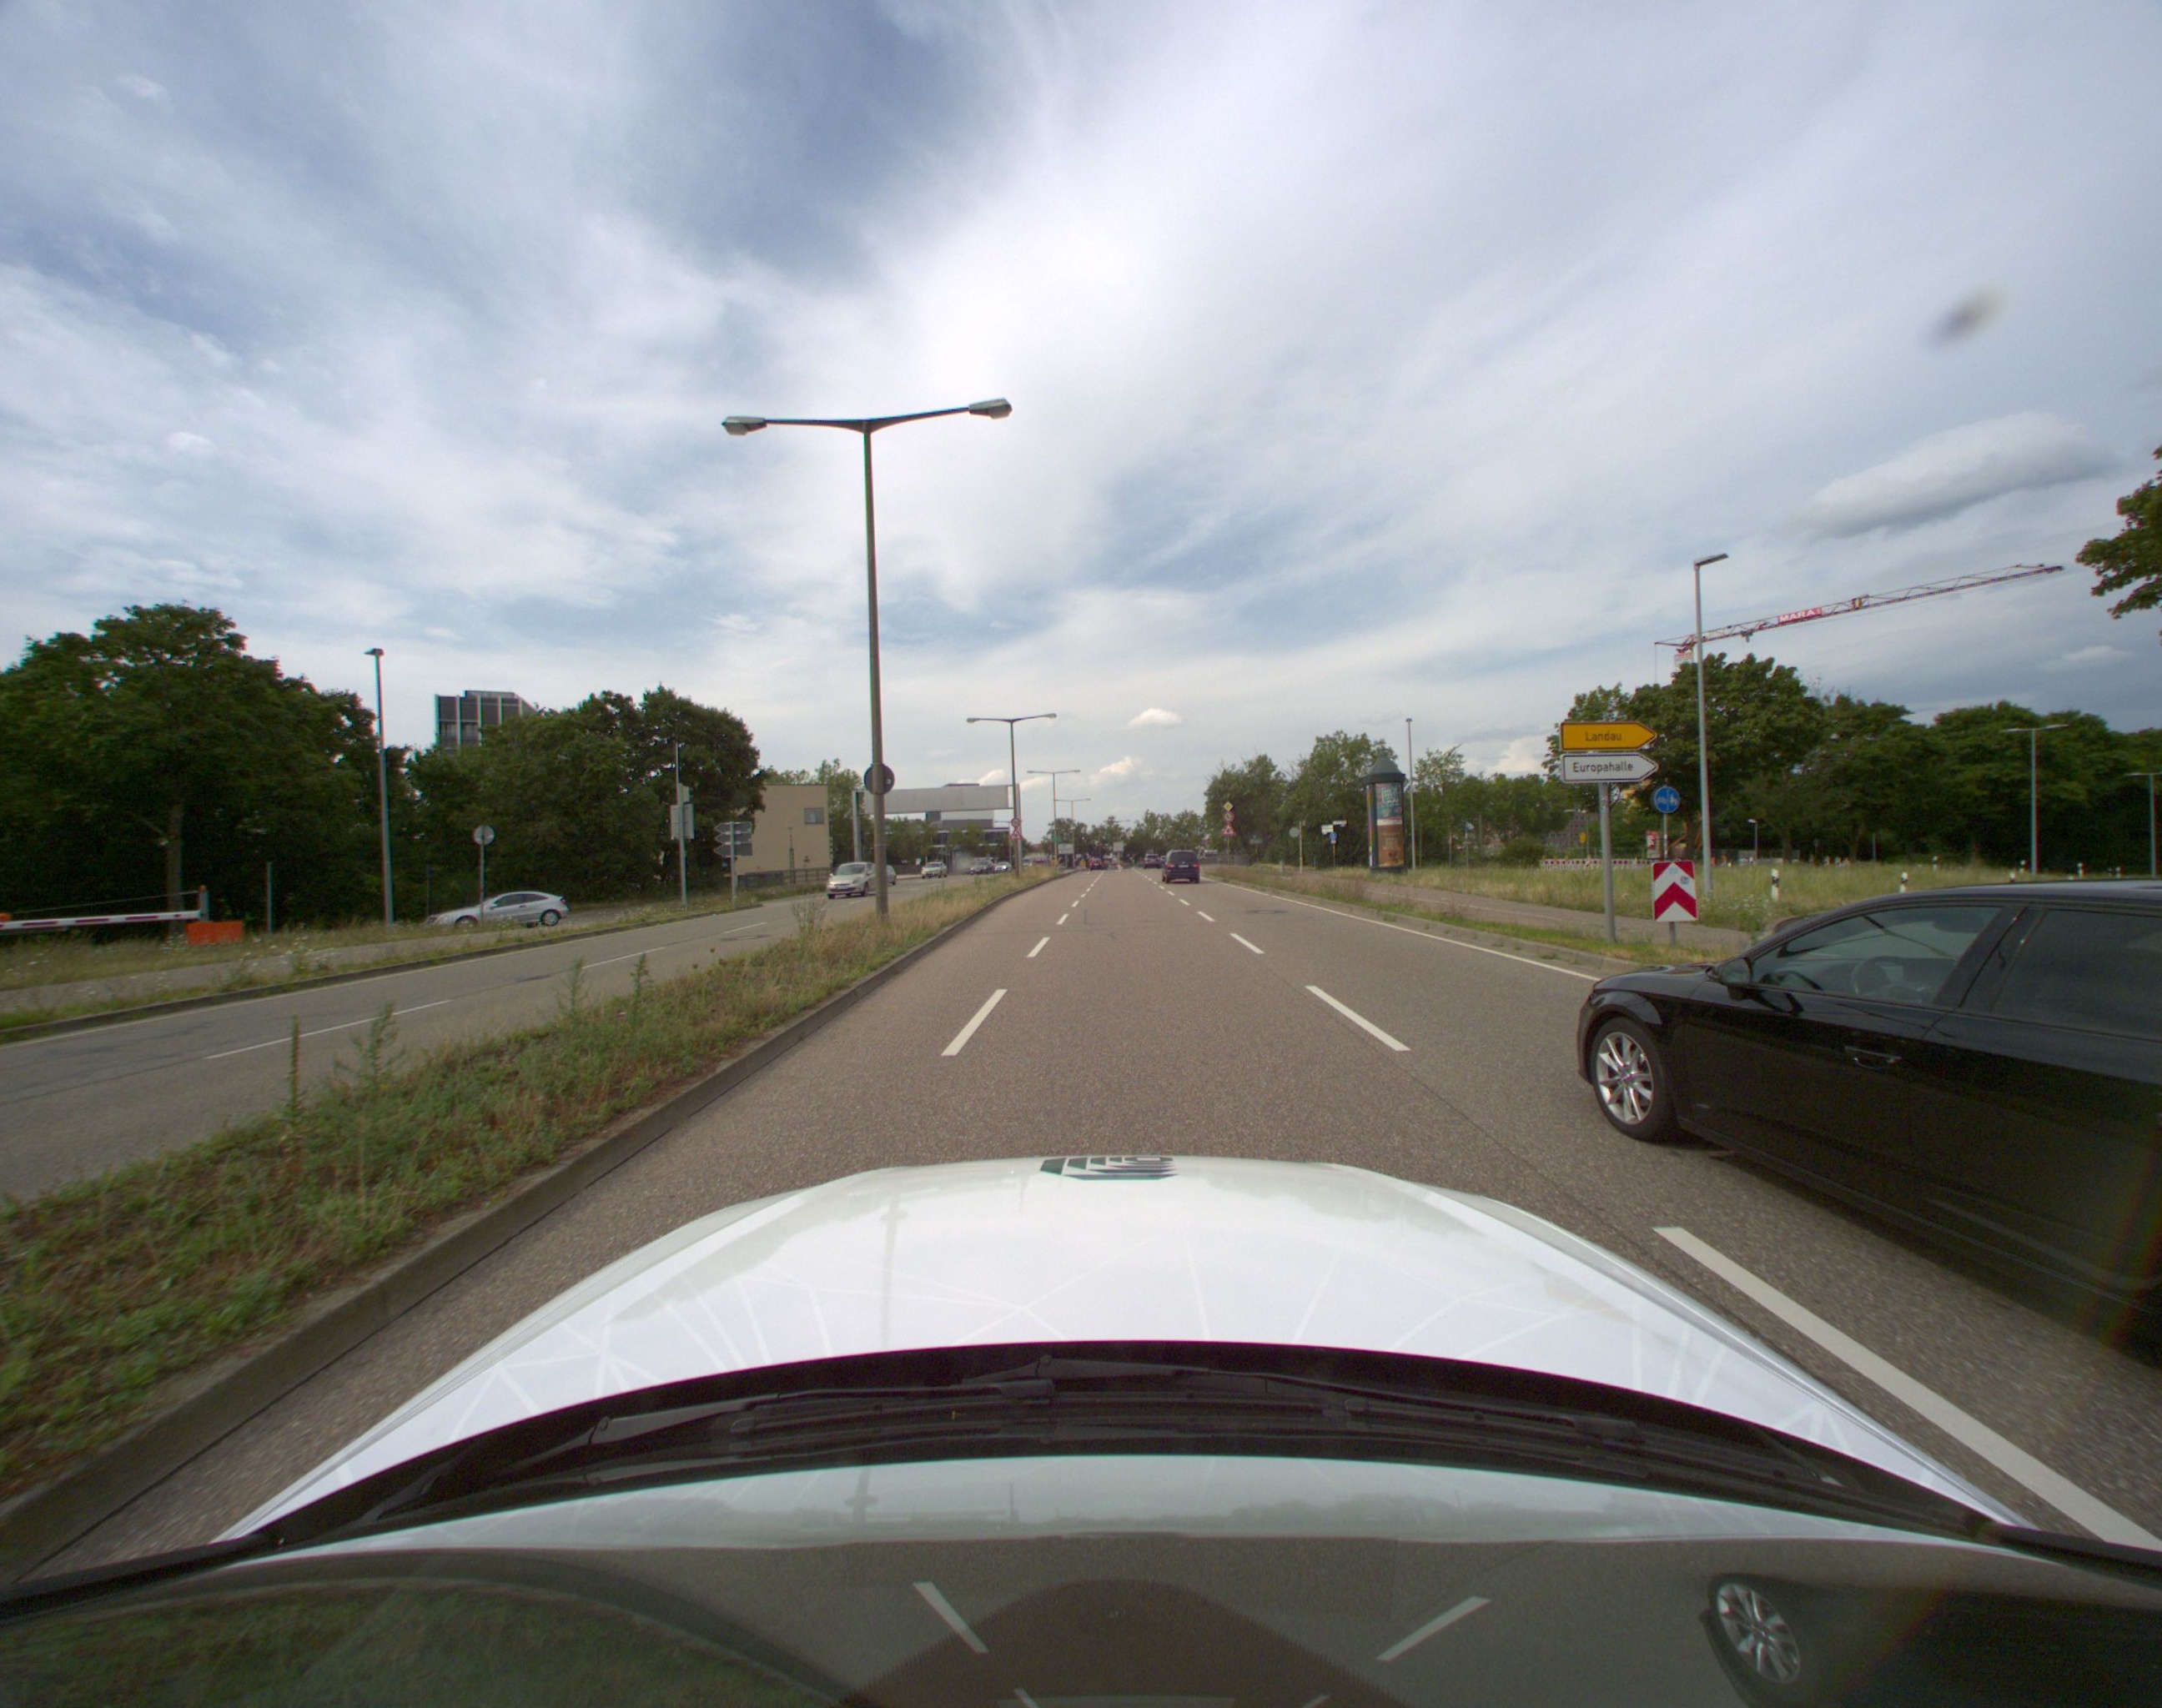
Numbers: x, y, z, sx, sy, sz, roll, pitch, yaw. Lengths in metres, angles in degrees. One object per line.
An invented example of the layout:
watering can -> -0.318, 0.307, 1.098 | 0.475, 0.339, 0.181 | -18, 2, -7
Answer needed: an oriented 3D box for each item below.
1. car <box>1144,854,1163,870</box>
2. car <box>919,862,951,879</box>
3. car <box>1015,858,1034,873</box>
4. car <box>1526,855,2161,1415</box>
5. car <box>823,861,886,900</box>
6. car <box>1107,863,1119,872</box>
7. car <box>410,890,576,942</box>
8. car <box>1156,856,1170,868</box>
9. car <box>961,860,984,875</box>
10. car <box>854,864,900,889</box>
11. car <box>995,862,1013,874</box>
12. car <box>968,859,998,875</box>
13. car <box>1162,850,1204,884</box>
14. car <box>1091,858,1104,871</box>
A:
car -> 7.969, 0.855, 89.662 | 1.724, 1.653, 4.116 | -1, 0, 1
car -> -13.229, 1.483, 74.046 | 1.658, 1.419, 4.320 | -4, -1, 5
car -> -6.173, 1.238, 89.165 | 1.689, 1.486, 3.860 | -2, -1, 0
car -> 3.635, 0.720, 3.058 | 1.724, 1.395, 4.116 | -1, 0, 1
car -> -10.792, 1.221, 39.101 | 1.740, 1.598, 4.563 | -3, 0, -1
car -> 5.794, 2.401, 147.528 | 1.726, 1.526, 4.112 | -1, 0, -2
car -> -21.212, 2.192, 29.587 | 1.728, 1.446, 4.490 | -3, 0, 31
car -> 11.080, 1.048, 110.072 | 1.502, 1.447, 3.140 | -1, 0, 1
car -> -12.407, 1.571, 93.205 | 1.786, 1.525, 4.596 | -4, -1, 2
car -> -13.859, 1.495, 55.570 | 1.657, 1.419, 4.100 | -3, 1, 6
car -> -10.482, 1.896, 110.485 | 1.786, 1.525, 4.190 | -4, -1, 2
car -> -9.647, 1.249, 80.771 | 1.656, 1.425, 4.530 | -4, -1, 9
car -> 5.346, 0.664, 43.156 | 1.724, 1.653, 4.116 | -1, 0, 1
car -> 2.234, 1.433, 110.652 | 1.724, 1.653, 4.116 | -1, 0, 1
